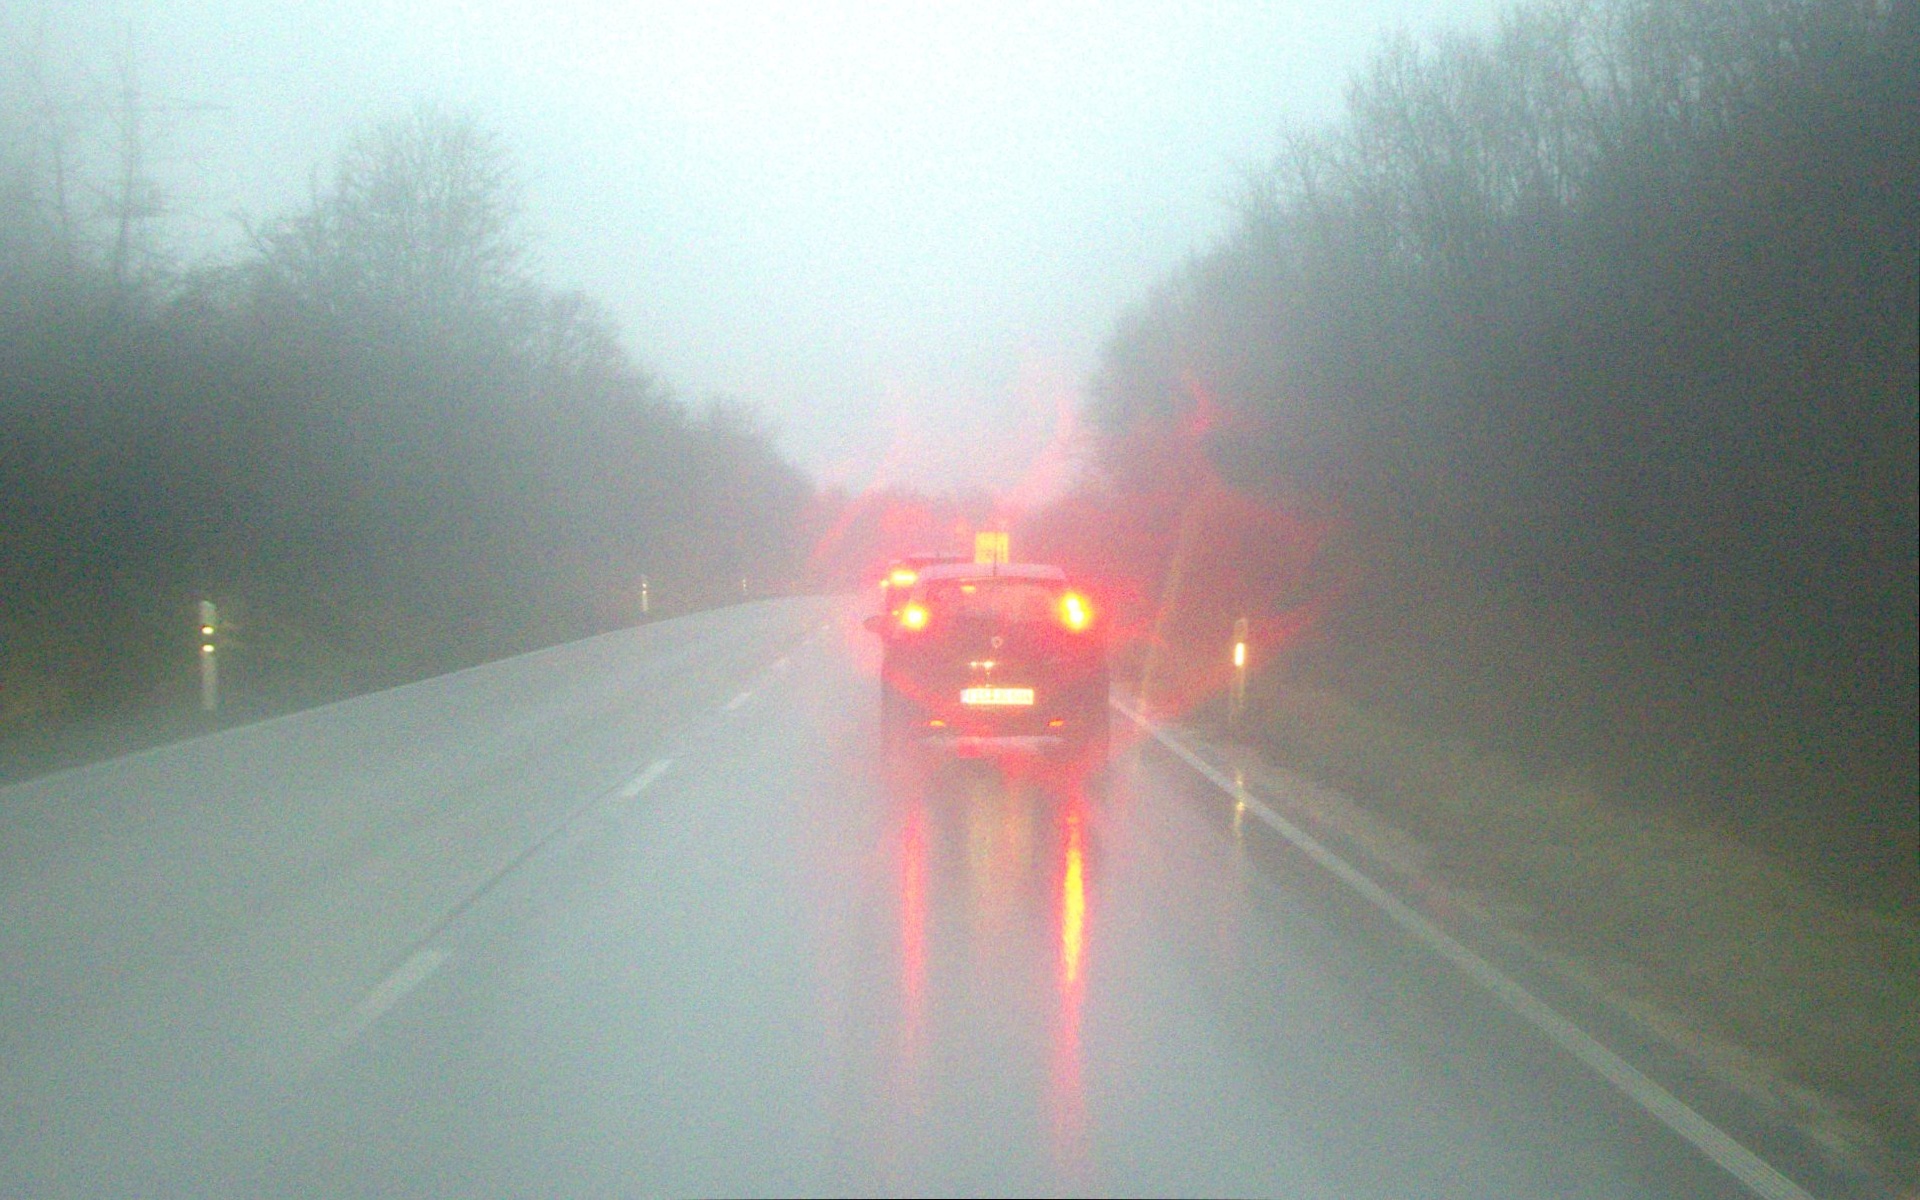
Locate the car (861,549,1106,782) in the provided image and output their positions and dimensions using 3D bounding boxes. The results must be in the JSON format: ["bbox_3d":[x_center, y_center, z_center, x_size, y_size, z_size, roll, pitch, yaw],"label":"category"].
[{"bbox_3d":[0.190,0.456,26.401,1.728,1.638,4.000,0,0,1],"label":"car"}]

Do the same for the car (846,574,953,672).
[{"bbox_3d":[-1.024,0.383,59.767,1.728,1.638,4.000,0,0,1],"label":"car"}]
